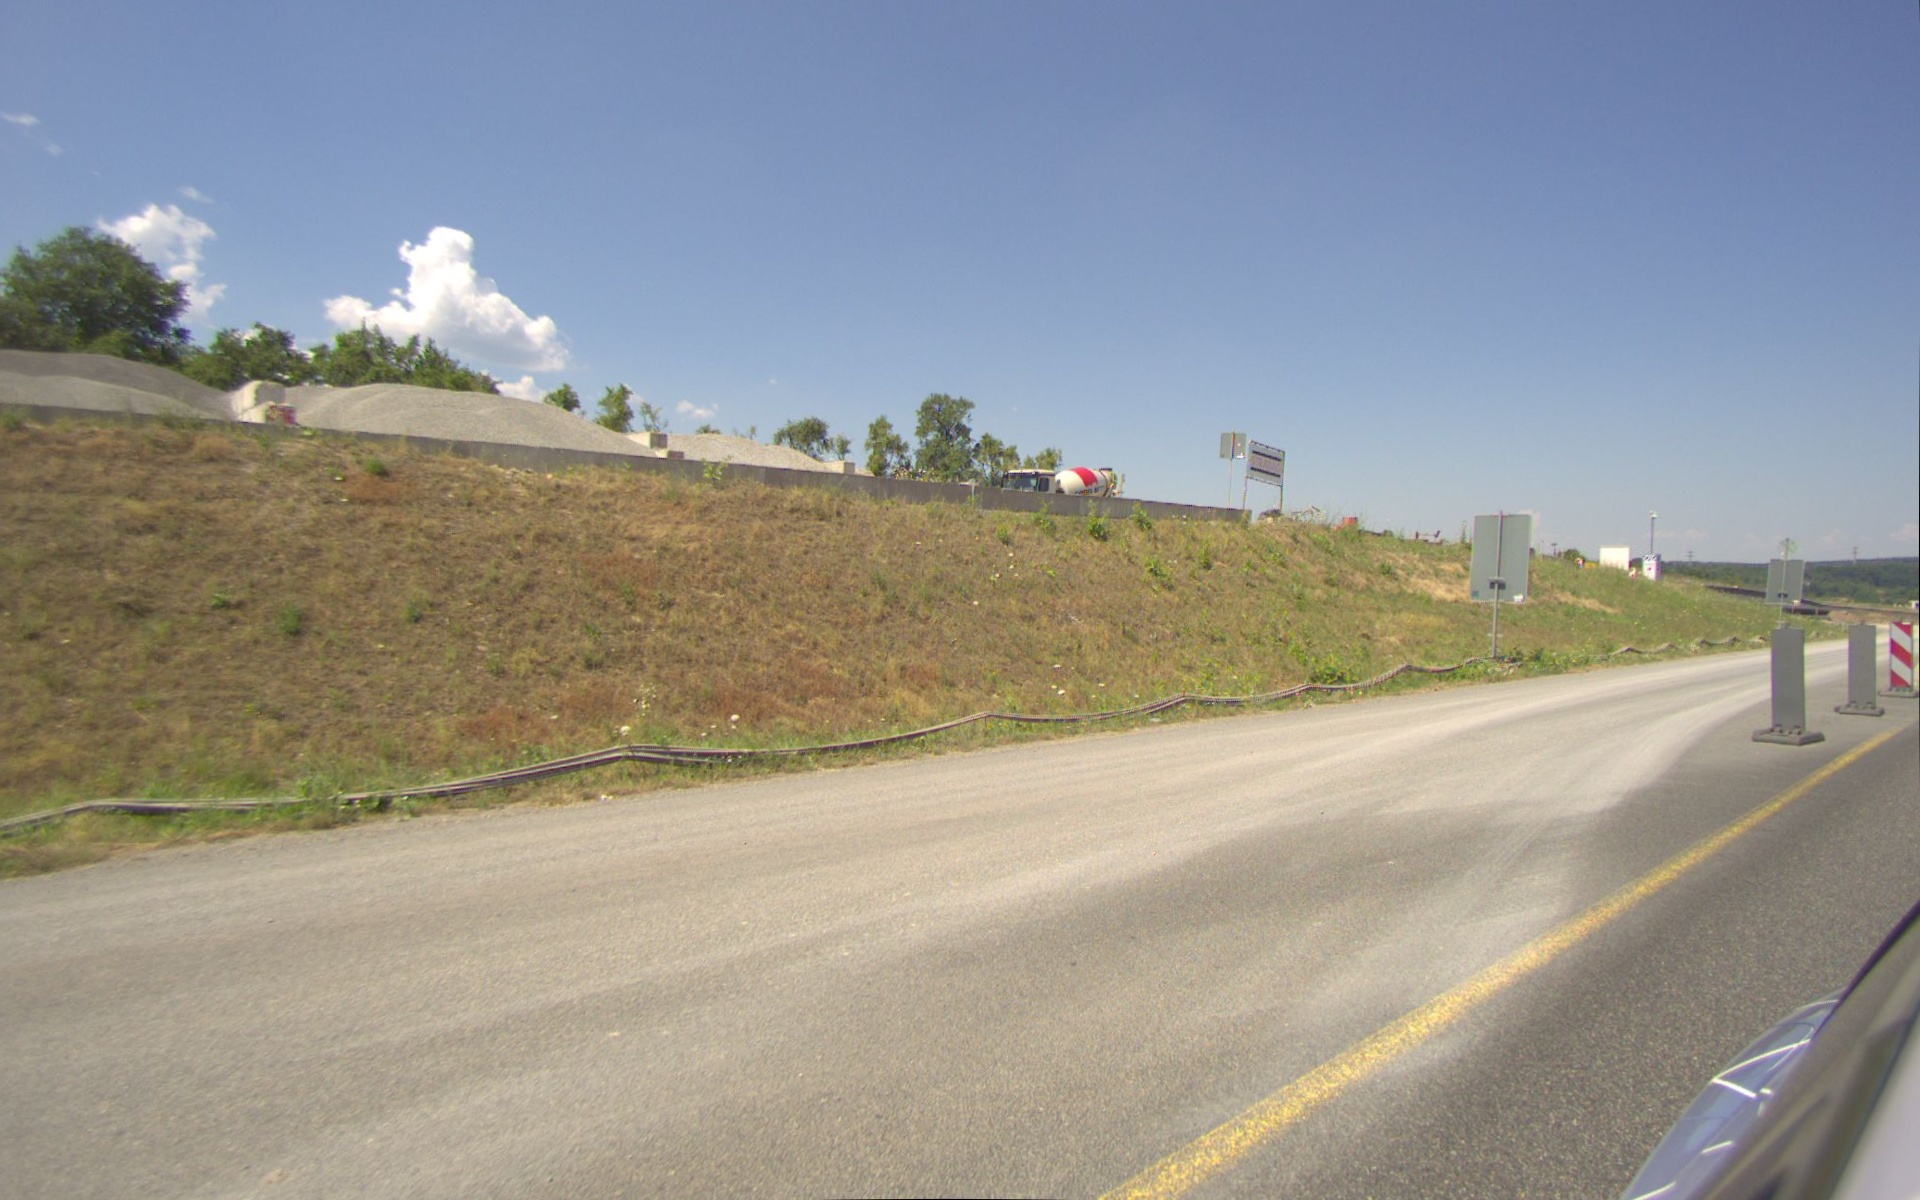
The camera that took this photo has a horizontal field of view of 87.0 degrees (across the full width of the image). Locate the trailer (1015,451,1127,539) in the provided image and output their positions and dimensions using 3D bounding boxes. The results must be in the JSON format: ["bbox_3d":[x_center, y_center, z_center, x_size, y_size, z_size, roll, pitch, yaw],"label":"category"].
[{"bbox_3d":[6.089,-5.527,54.777,2.753,4.166,6.647,2,1,40],"label":"trailer"}]

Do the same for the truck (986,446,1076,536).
[{"bbox_3d":[3.673,-5.483,51.918,2.742,4.147,4.040,2,1,41],"label":"truck"}]
